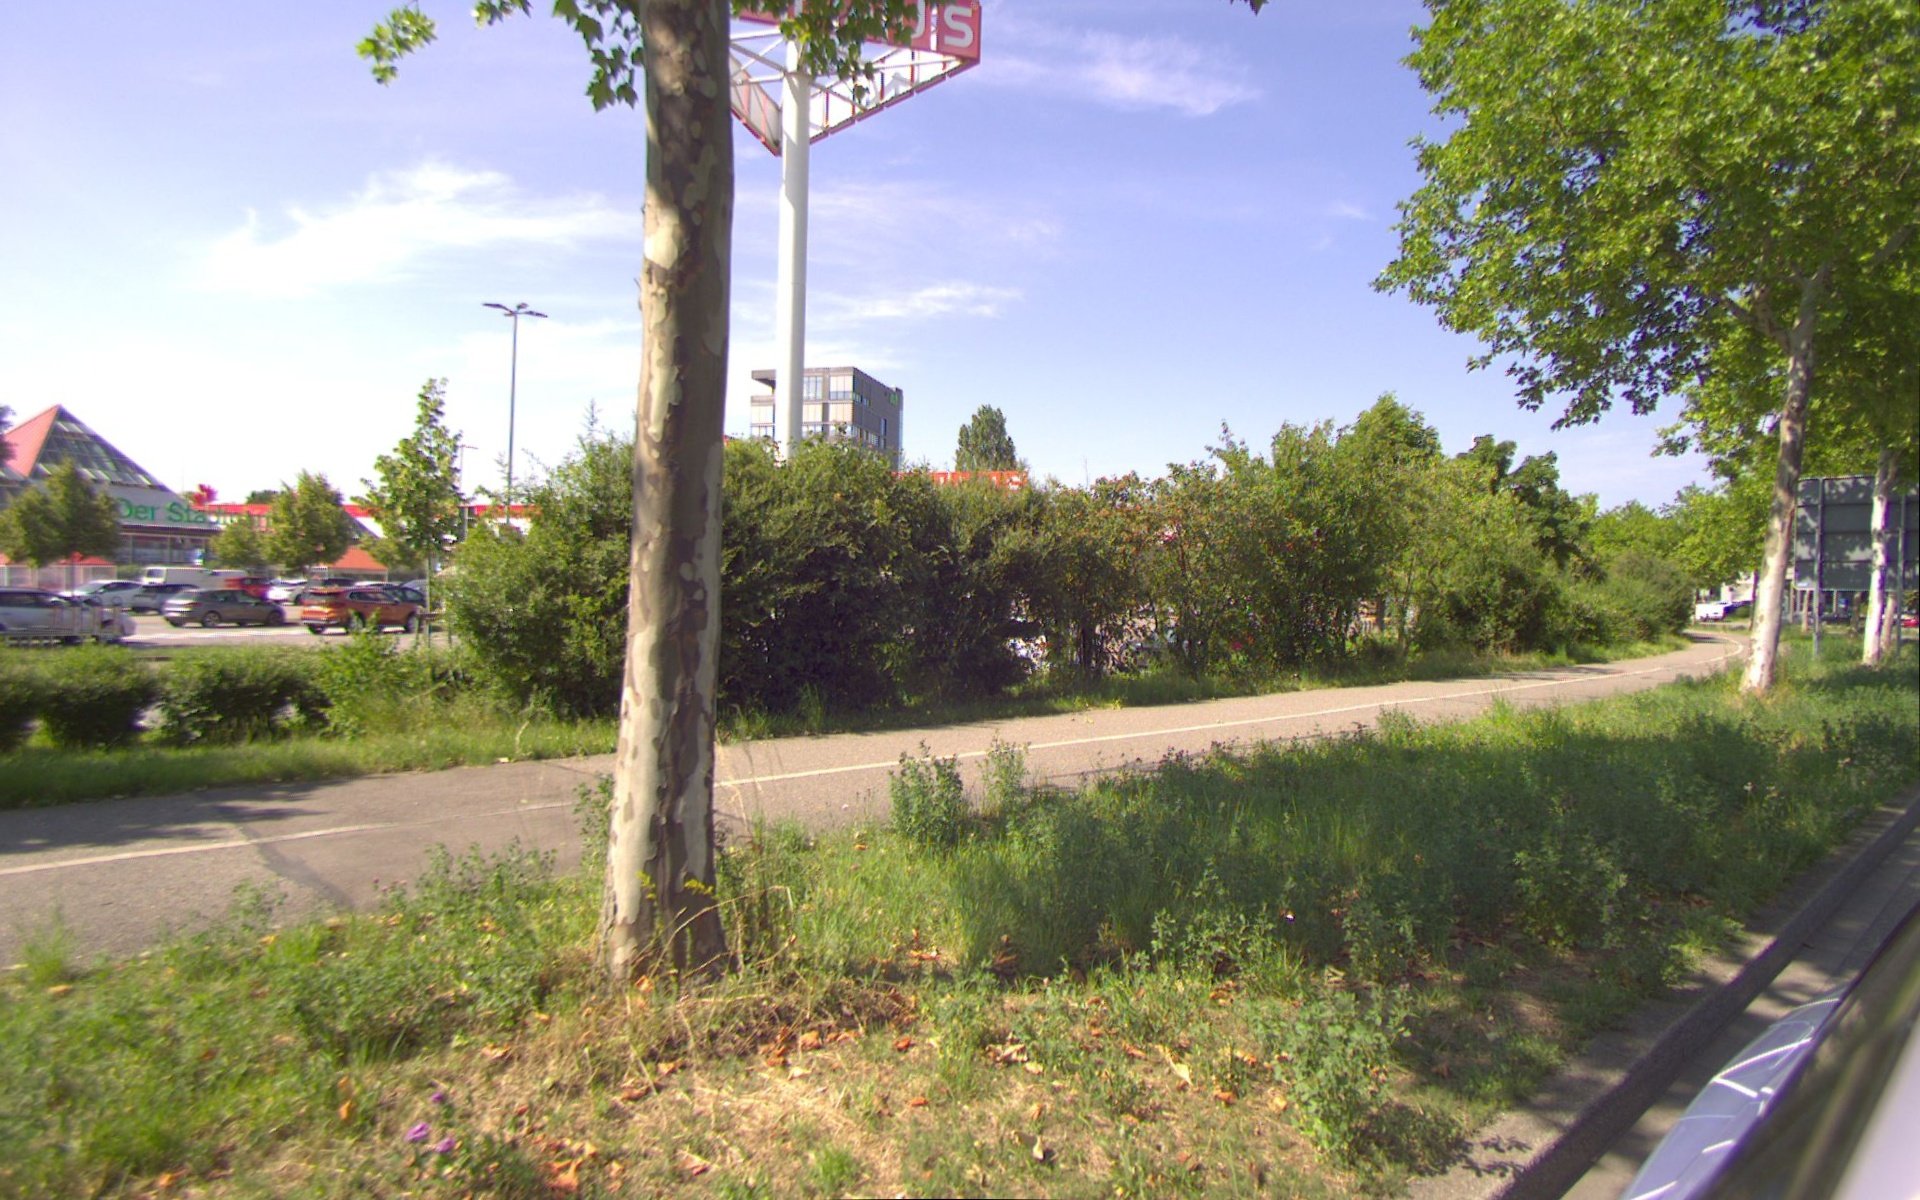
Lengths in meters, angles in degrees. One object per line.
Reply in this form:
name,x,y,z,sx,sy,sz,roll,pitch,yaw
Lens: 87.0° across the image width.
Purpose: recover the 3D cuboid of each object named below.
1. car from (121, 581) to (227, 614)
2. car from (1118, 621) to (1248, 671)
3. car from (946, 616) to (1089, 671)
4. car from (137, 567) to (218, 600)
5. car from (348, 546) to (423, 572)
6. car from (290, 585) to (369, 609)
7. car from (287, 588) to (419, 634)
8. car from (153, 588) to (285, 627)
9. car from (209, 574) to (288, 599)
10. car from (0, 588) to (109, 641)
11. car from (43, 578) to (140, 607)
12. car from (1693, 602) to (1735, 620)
car,-36.767,-0.123,47.455,1.508,1.455,3.845,0,0,15
car,6.784,1.366,31.065,1.711,1.238,3.588,0,2,-41
car,1.372,1.049,25.504,1.174,1.240,3.966,0,-1,-41
car,-47.920,-0.978,62.078,1.508,1.972,3.845,0,0,15
car,-33.847,-2.397,59.723,1.649,1.327,3.725,-1,0,19
car,-36.404,-0.169,58.521,1.649,1.327,3.725,-1,0,19
car,-21.582,0.368,36.176,1.766,1.522,4.034,0,0,12
car,-28.105,0.267,38.517,1.713,1.382,3.852,0,0,15
car,-42.855,-0.769,61.033,1.508,1.455,3.845,0,0,15
car,-24.222,0.370,25.585,1.760,1.289,3.803,0,-2,17
car,-41.186,-0.332,48.065,1.293,1.314,3.355,0,0,15
car,83.650,1.199,112.284,1.969,2.039,4.500,0,0,12
